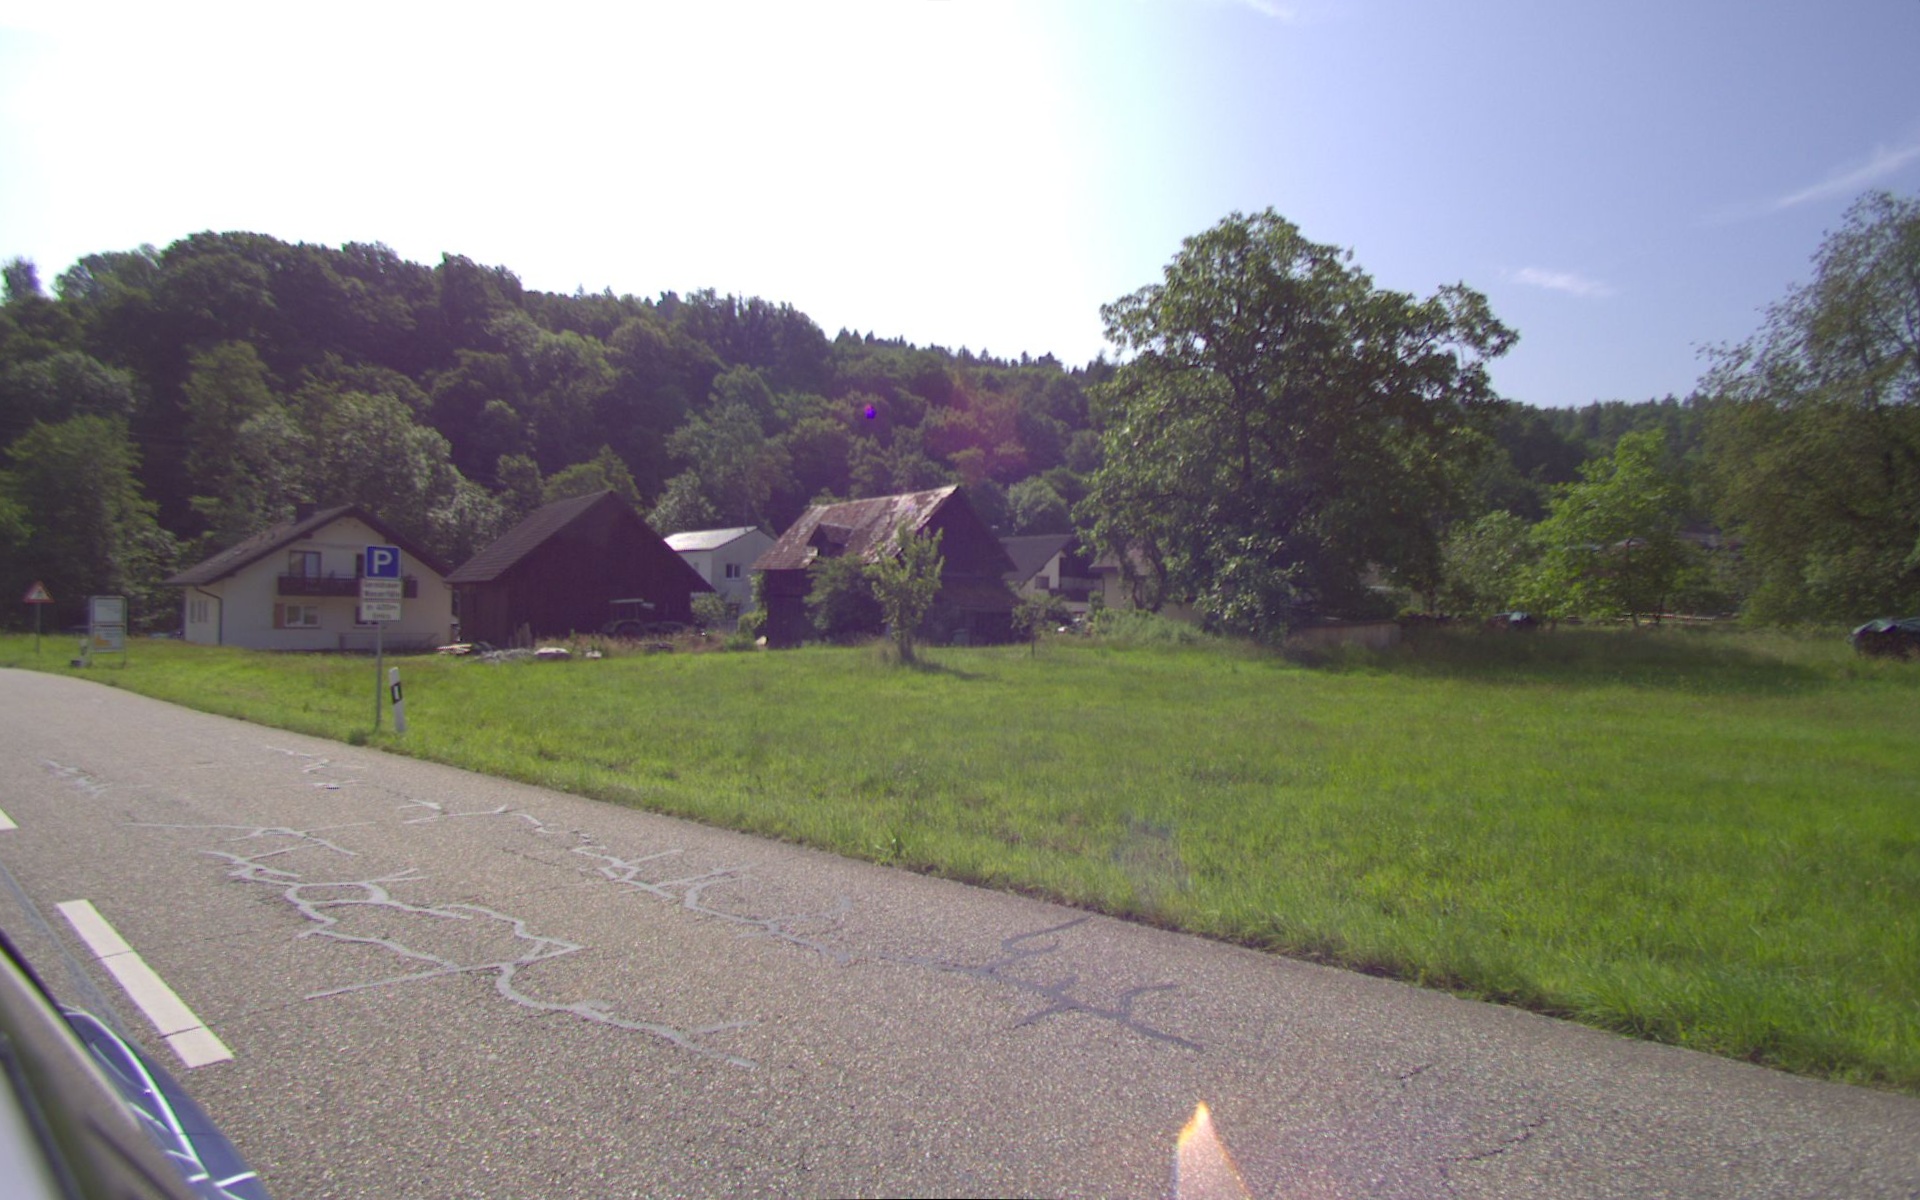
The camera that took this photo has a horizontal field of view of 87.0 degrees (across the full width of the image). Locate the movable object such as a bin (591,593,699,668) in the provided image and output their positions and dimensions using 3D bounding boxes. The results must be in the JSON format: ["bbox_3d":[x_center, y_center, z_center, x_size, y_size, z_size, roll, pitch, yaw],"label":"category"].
[{"bbox_3d":[-14.021,1.335,45.138,4.123,3.161,2.208,0,-2,-35],"label":"movable object such as a bin"}]
